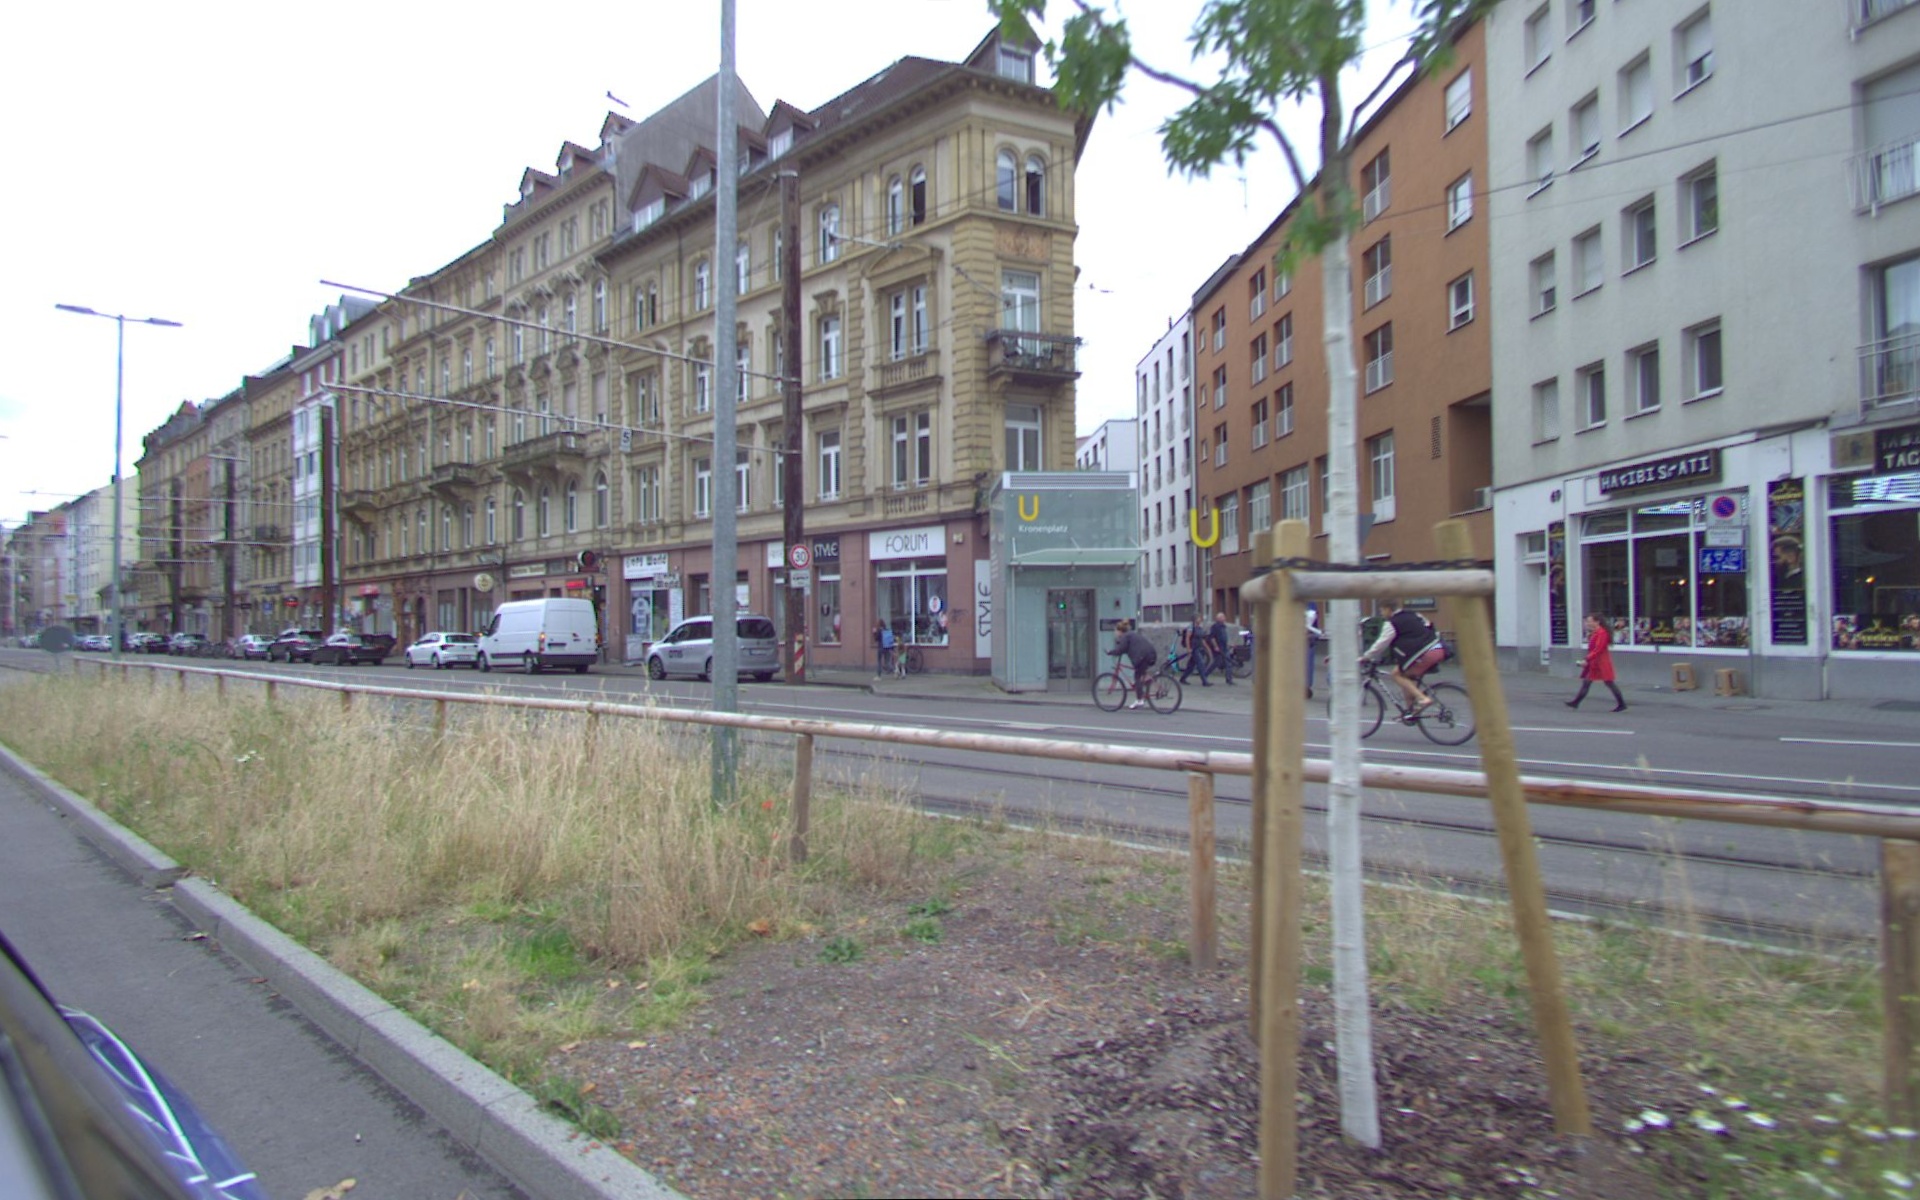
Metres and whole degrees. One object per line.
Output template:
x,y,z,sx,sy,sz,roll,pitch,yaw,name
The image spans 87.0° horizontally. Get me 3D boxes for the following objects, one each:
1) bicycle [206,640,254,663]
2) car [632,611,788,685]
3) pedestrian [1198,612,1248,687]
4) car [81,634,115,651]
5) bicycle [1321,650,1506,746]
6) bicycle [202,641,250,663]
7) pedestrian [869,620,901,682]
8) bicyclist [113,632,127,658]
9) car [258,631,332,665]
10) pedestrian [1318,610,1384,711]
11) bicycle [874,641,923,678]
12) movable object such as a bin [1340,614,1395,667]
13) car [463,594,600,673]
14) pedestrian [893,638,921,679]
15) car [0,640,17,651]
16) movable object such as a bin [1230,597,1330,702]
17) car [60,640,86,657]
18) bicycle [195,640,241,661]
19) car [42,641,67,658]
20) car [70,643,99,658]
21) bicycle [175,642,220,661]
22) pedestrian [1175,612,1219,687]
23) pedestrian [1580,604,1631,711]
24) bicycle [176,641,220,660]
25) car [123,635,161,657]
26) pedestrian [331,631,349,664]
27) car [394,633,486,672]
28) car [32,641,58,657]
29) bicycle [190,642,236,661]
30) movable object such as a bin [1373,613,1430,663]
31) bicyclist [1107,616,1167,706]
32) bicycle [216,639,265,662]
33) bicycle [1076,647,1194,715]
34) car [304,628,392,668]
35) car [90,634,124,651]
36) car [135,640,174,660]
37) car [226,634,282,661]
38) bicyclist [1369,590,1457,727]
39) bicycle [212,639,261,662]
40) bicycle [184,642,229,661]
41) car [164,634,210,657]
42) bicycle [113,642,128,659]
-44.464,3.144,61.634,0.666,1.339,2.257,-2,-4,42,bicycle
-6.897,1.300,27.730,4.517,1.879,1.883,-2,-3,40,car
6.108,1.134,23.515,0.651,1.700,0.926,1,-1,-33,pedestrian
-79.081,3.902,92.807,4.544,1.533,1.804,-3,-4,42,car
5.296,1.116,11.906,1.911,1.029,0.471,-2,-2,41,bicycle
-45.072,3.203,62.195,0.666,1.339,2.257,-2,-4,42,bicycle
-1.943,1.316,26.185,0.546,1.568,0.659,-1,-1,-31,pedestrian
-62.018,3.314,74.702,1.028,1.897,0.638,-2,-1,43,bicyclist
-34.383,2.467,52.274,5.026,1.703,1.795,-3,-3,39,car
6.816,1.027,17.644,0.811,1.700,0.725,1,-1,-31,pedestrian
-1.690,1.602,27.559,0.336,0.966,1.690,-1,-1,-41,bicycle
11.926,1.166,29.655,0.932,1.512,1.241,-2,-1,-7,movable object such as a bin
-14.820,1.192,34.844,5.662,2.506,2.031,-2,-4,41,car
-1.381,1.519,26.465,0.546,1.038,0.454,-1,-1,-40,pedestrian
-132.208,6.331,140.309,3.999,1.574,1.843,-2,-4,42,car
6.370,0.956,20.209,1.018,1.996,1.619,1,-1,-42,movable object such as a bin
-93.149,5.105,106.288,3.920,1.770,1.684,-2,-3,44,car
-47.054,3.213,64.216,0.666,1.339,2.257,-2,-4,42,bicycle
-100.766,5.499,112.642,4.181,1.684,1.682,-2,-1,43,car
-89.580,5.172,103.506,3.432,1.391,1.631,-3,-3,39,car
-50.237,3.401,66.710,0.705,1.212,2.257,-2,-4,42,bicycle
5.439,1.118,23.254,0.651,1.700,0.725,1,-1,-33,pedestrian
10.486,0.913,16.457,0.660,1.700,0.715,0,-1,31,pedestrian
-50.654,3.356,67.274,0.547,1.212,2.258,-2,-1,42,bicycle
-64.805,3.645,80.155,4.044,1.685,1.725,-3,-3,41,car
-34.845,2.642,56.884,0.644,1.796,0.787,-1,-1,-12,pedestrian
-20.614,2.075,40.084,4.162,1.434,1.752,-2,-4,40,car
-108.896,5.789,120.421,3.825,1.745,1.903,-2,-1,41,car
-47.987,3.290,65.049,0.666,1.212,2.257,-2,-4,42,bicycle
12.954,1.101,29.738,0.995,1.416,1.241,-2,-1,-7,movable object such as a bin
2.872,0.973,16.453,0.811,1.417,0.474,-2,-2,40,bicyclist
-42.536,3.003,59.848,0.666,1.339,2.257,-2,-4,42,bicycle
2.831,1.294,16.482,1.911,1.029,0.474,-2,-2,41,bicycle
-27.854,2.183,46.019,5.049,1.702,1.899,-2,-4,41,car
-75.514,3.781,89.578,4.044,1.476,1.725,-3,-3,41,car
-61.045,3.801,76.701,3.920,1.500,1.725,-3,-3,43,car
-40.294,2.719,57.725,3.918,1.500,1.725,-3,-3,41,car
5.308,0.674,11.881,0.811,1.552,0.486,-2,-2,40,bicyclist
-43.102,3.022,60.297,0.521,1.339,2.257,-2,-4,42,bicycle
-49.124,3.345,66.010,0.705,1.212,2.257,-2,-4,42,bicycle
-53.559,3.157,70.063,4.223,1.545,1.725,-3,-3,41,car
-61.952,3.728,74.656,2.045,1.183,0.578,-2,-3,44,bicycle
